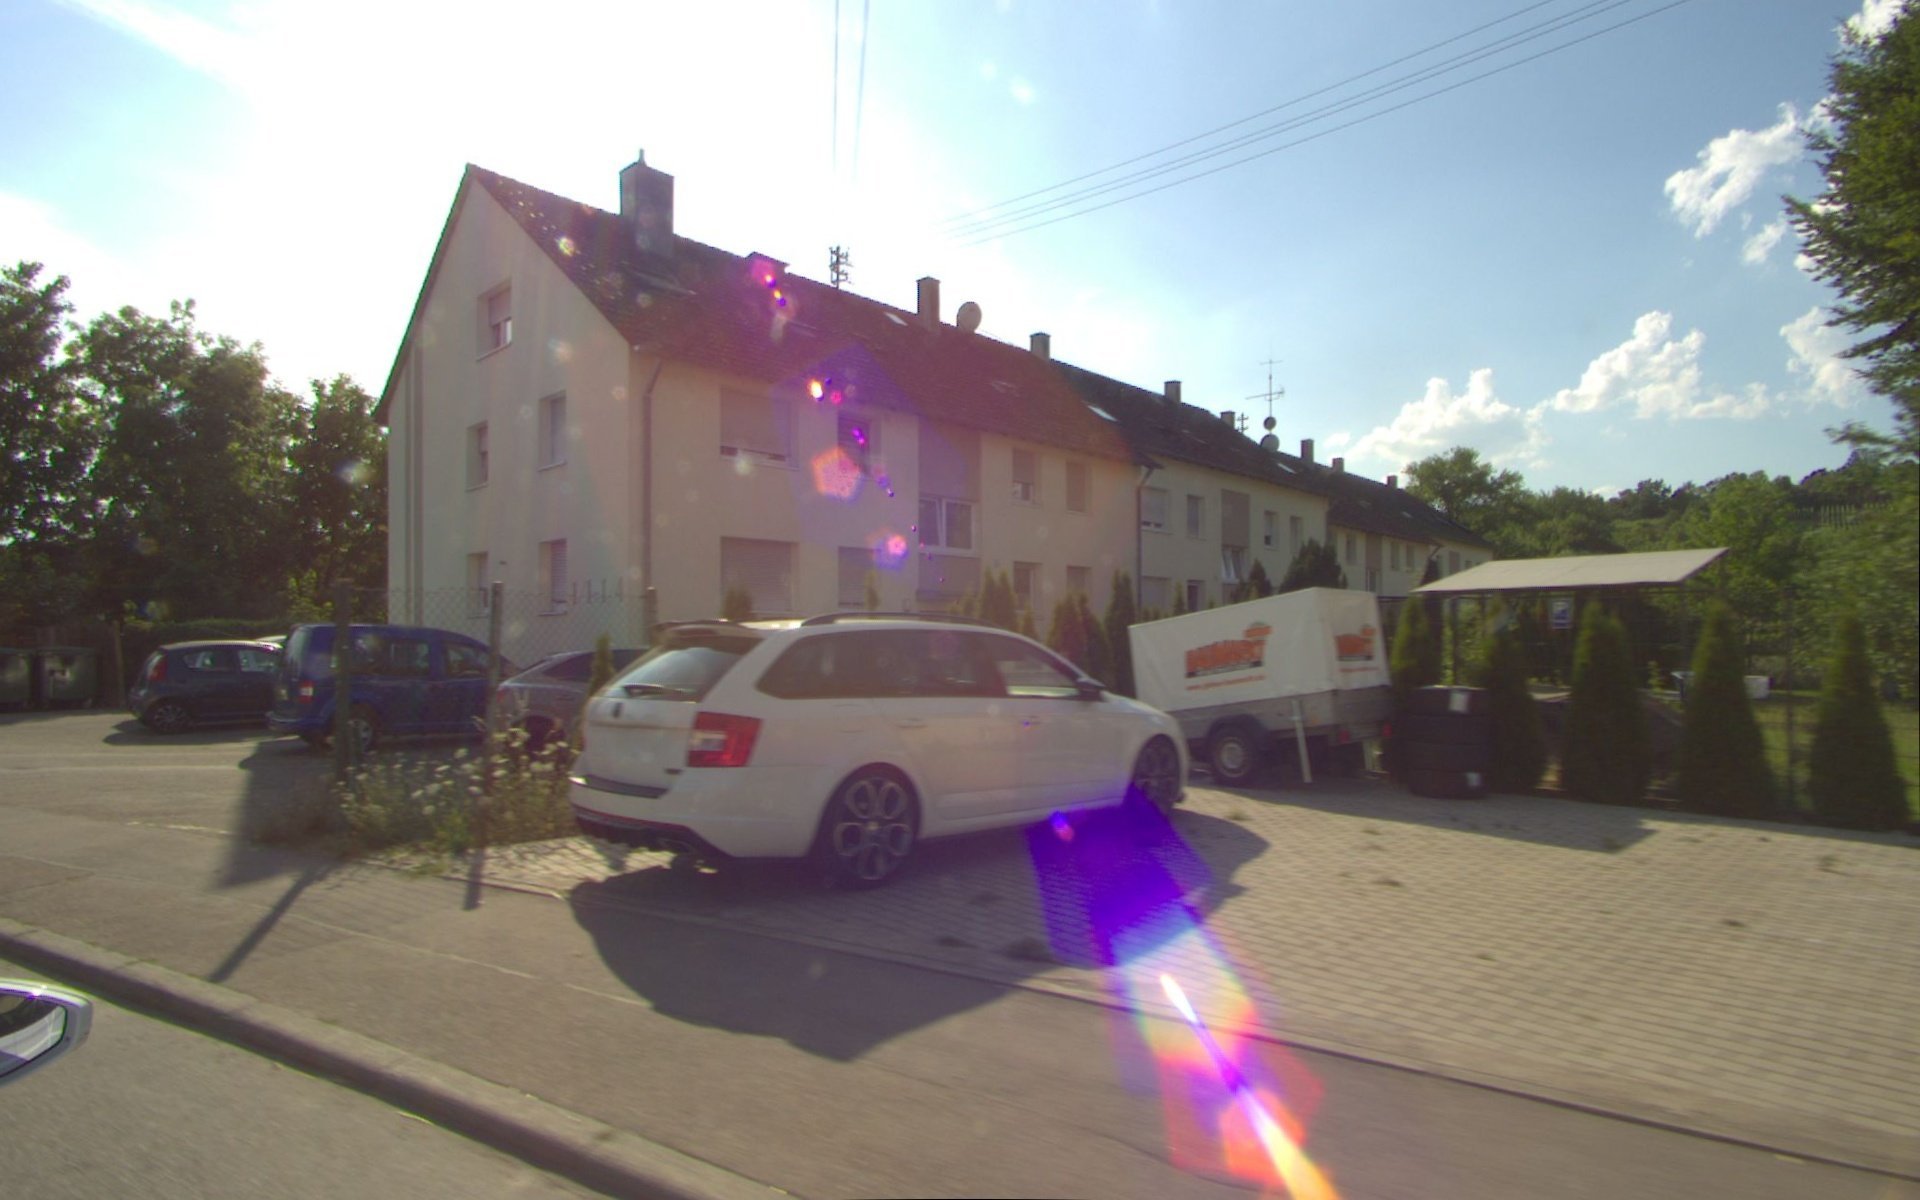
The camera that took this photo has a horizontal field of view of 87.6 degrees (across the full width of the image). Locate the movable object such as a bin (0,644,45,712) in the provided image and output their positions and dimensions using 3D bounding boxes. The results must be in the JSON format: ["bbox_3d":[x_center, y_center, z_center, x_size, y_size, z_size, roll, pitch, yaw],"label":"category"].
[{"bbox_3d":[-19.555,1.576,20.436,1.033,1.354,1.147,-1,-2,38],"label":"movable object such as a bin"}]

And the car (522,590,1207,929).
[{"bbox_3d":[-0.289,0.792,6.571,1.713,1.476,4.439,-2,-3,44],"label":"car"}]

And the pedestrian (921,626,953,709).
[{"bbox_3d":[-0.476,1.417,21.172,0.531,1.726,0.408,0,-1,-44],"label":"pedestrian"}]

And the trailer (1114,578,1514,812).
[{"bbox_3d":[3.153,0.789,9.303,1.510,1.774,3.188,2,-3,-42],"label":"trailer"}]

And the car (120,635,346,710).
[{"bbox_3d":[-15.646,1.510,21.678,1.619,1.469,3.724,-1,-3,43],"label":"car"}]

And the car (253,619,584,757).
[{"bbox_3d":[-8.253,1.258,15.553,1.748,1.810,4.179,1,-1,43],"label":"car"}]

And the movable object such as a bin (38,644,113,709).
[{"bbox_3d":[-18.884,1.611,21.380,0.992,1.354,1.037,-1,-2,38],"label":"movable object such as a bin"}]

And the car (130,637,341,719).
[{"bbox_3d":[-14.133,1.467,19.618,1.559,1.469,3.111,-1,-3,43],"label":"car"}]

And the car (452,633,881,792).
[{"bbox_3d":[-3.122,1.218,11.007,4.196,1.536,1.701,-1,-5,11],"label":"car"}]

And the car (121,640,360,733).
[{"bbox_3d":[-12.577,1.442,17.604,1.633,1.469,3.190,-2,-3,45],"label":"car"}]
